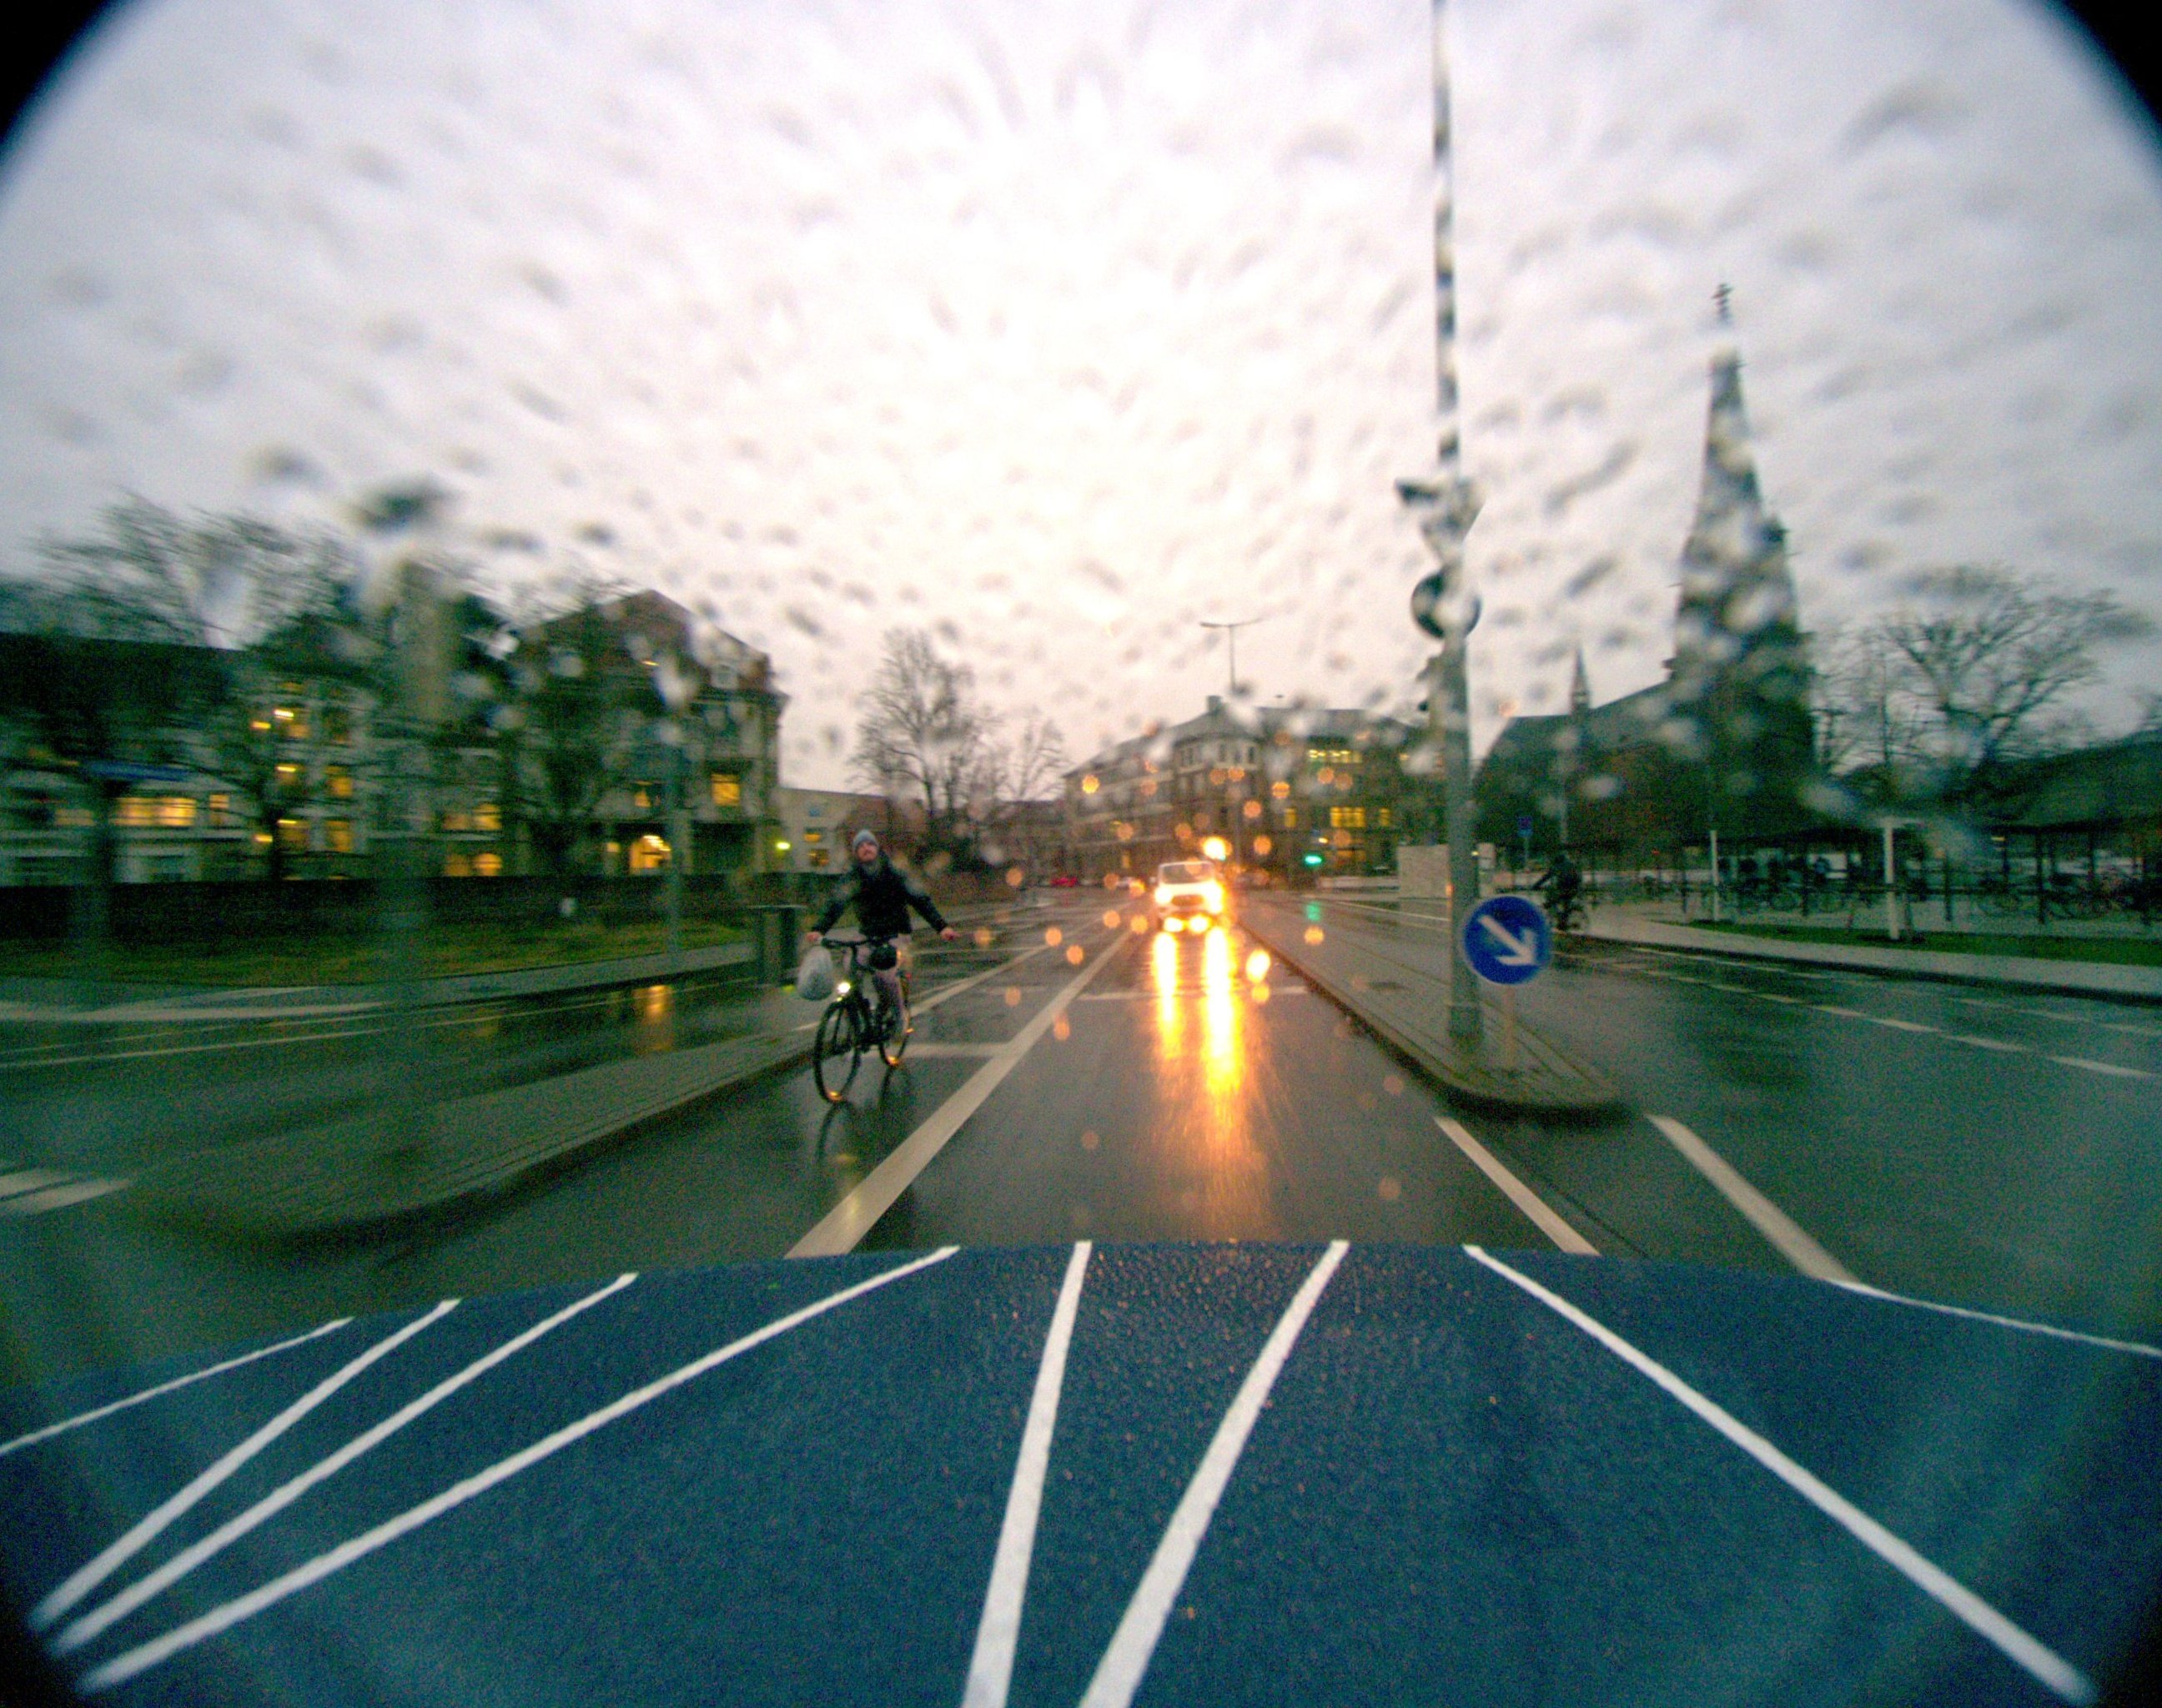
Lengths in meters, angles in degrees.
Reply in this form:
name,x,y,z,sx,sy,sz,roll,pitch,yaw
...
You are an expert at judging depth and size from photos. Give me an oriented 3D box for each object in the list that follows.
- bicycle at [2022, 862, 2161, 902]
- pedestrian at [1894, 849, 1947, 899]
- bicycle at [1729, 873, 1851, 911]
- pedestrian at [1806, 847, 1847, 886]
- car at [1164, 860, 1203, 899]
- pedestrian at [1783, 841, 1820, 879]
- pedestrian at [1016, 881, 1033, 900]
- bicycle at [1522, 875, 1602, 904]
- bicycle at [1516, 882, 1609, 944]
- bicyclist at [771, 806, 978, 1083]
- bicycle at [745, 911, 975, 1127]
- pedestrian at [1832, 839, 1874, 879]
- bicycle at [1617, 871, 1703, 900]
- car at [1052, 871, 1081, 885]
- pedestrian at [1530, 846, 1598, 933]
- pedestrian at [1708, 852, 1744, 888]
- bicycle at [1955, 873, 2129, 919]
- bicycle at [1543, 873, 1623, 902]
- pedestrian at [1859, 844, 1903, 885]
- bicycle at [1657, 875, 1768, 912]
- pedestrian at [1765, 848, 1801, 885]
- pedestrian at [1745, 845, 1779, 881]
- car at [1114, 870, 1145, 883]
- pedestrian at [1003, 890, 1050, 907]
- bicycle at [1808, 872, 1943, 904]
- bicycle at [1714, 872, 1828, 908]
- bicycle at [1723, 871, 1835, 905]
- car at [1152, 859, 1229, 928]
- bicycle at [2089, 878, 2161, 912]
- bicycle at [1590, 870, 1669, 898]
name,x,y,z,sx,sy,sz,roll,pitch,yaw
bicycle,30.491,0.857,22.780,0.647,1.098,2.747,-3,-2,-24
pedestrian,29.728,0.710,26.933,0.815,1.671,0.848,-6,1,7
bicycle,22.384,1.222,24.082,0.647,1.098,2.747,-3,-2,-24
pedestrian,36.990,0.638,37.710,1.034,1.838,0.849,-4,-1,7
car,7.200,1.764,53.989,2.345,2.502,5.871,-4,-1,5
pedestrian,36.160,0.307,38.168,1.034,1.839,0.803,-1,-1,8
pedestrian,-3.933,2.557,53.052,0.983,1.309,0.813,0,-1,-22
bicycle,19.301,1.440,30.574,0.647,1.098,2.747,-3,-2,-24
bicycle,9.854,1.185,15.650,0.624,1.169,1.872,0,-1,-4
bicyclist,-1.510,0.624,5.823,1.025,1.872,1.237,-2,1,11
bicycle,-1.578,1.133,5.857,0.793,1.215,1.906,-2,1,14
pedestrian,37.280,0.247,36.699,1.034,1.838,0.849,-4,-1,7
bicycle,23.401,1.308,30.773,0.647,1.098,2.747,-3,-2,-24
car,-2.145,3.496,109.493,2.145,1.999,4.561,0,-2,-33
pedestrian,9.876,0.712,15.574,0.717,1.723,0.982,0,-1,-4
pedestrian,34.514,0.862,40.675,1.049,1.838,0.849,-6,-2,7
bicycle,25.028,1.077,19.880,0.609,1.098,2.745,-3,-1,-31
bicycle,20.424,1.379,30.977,0.647,1.098,2.747,-3,-2,-24
pedestrian,37.312,0.507,35.451,1.034,1.838,0.849,-4,-1,7
bicycle,20.637,1.303,24.943,0.647,1.098,2.747,-3,-2,-24
pedestrian,36.144,0.657,39.127,1.034,1.839,0.849,-1,-1,7
pedestrian,35.904,0.493,40.071,1.034,1.839,0.849,-1,-1,7
car,6.080,2.855,95.109,1.892,1.521,3.991,-1,-1,-32
pedestrian,-3.789,3.109,53.063,3.103,0.924,0.947,-3,-2,-22
bicycle,27.980,1.184,26.864,0.796,1.043,3.188,-1,-1,-28
bicycle,23.334,1.239,25.770,0.648,1.098,2.745,-3,-2,-33
bicycle,23.990,1.173,26.195,0.648,1.098,2.745,-3,-1,-33
car,3.557,1.231,24.911,2.135,1.909,5.021,-4,-2,8
bicycle,28.456,1.081,20.222,0.608,0.866,1.860,0,-2,-28
bicycle,23.711,1.326,32.930,0.648,1.098,2.746,-3,-2,-27
